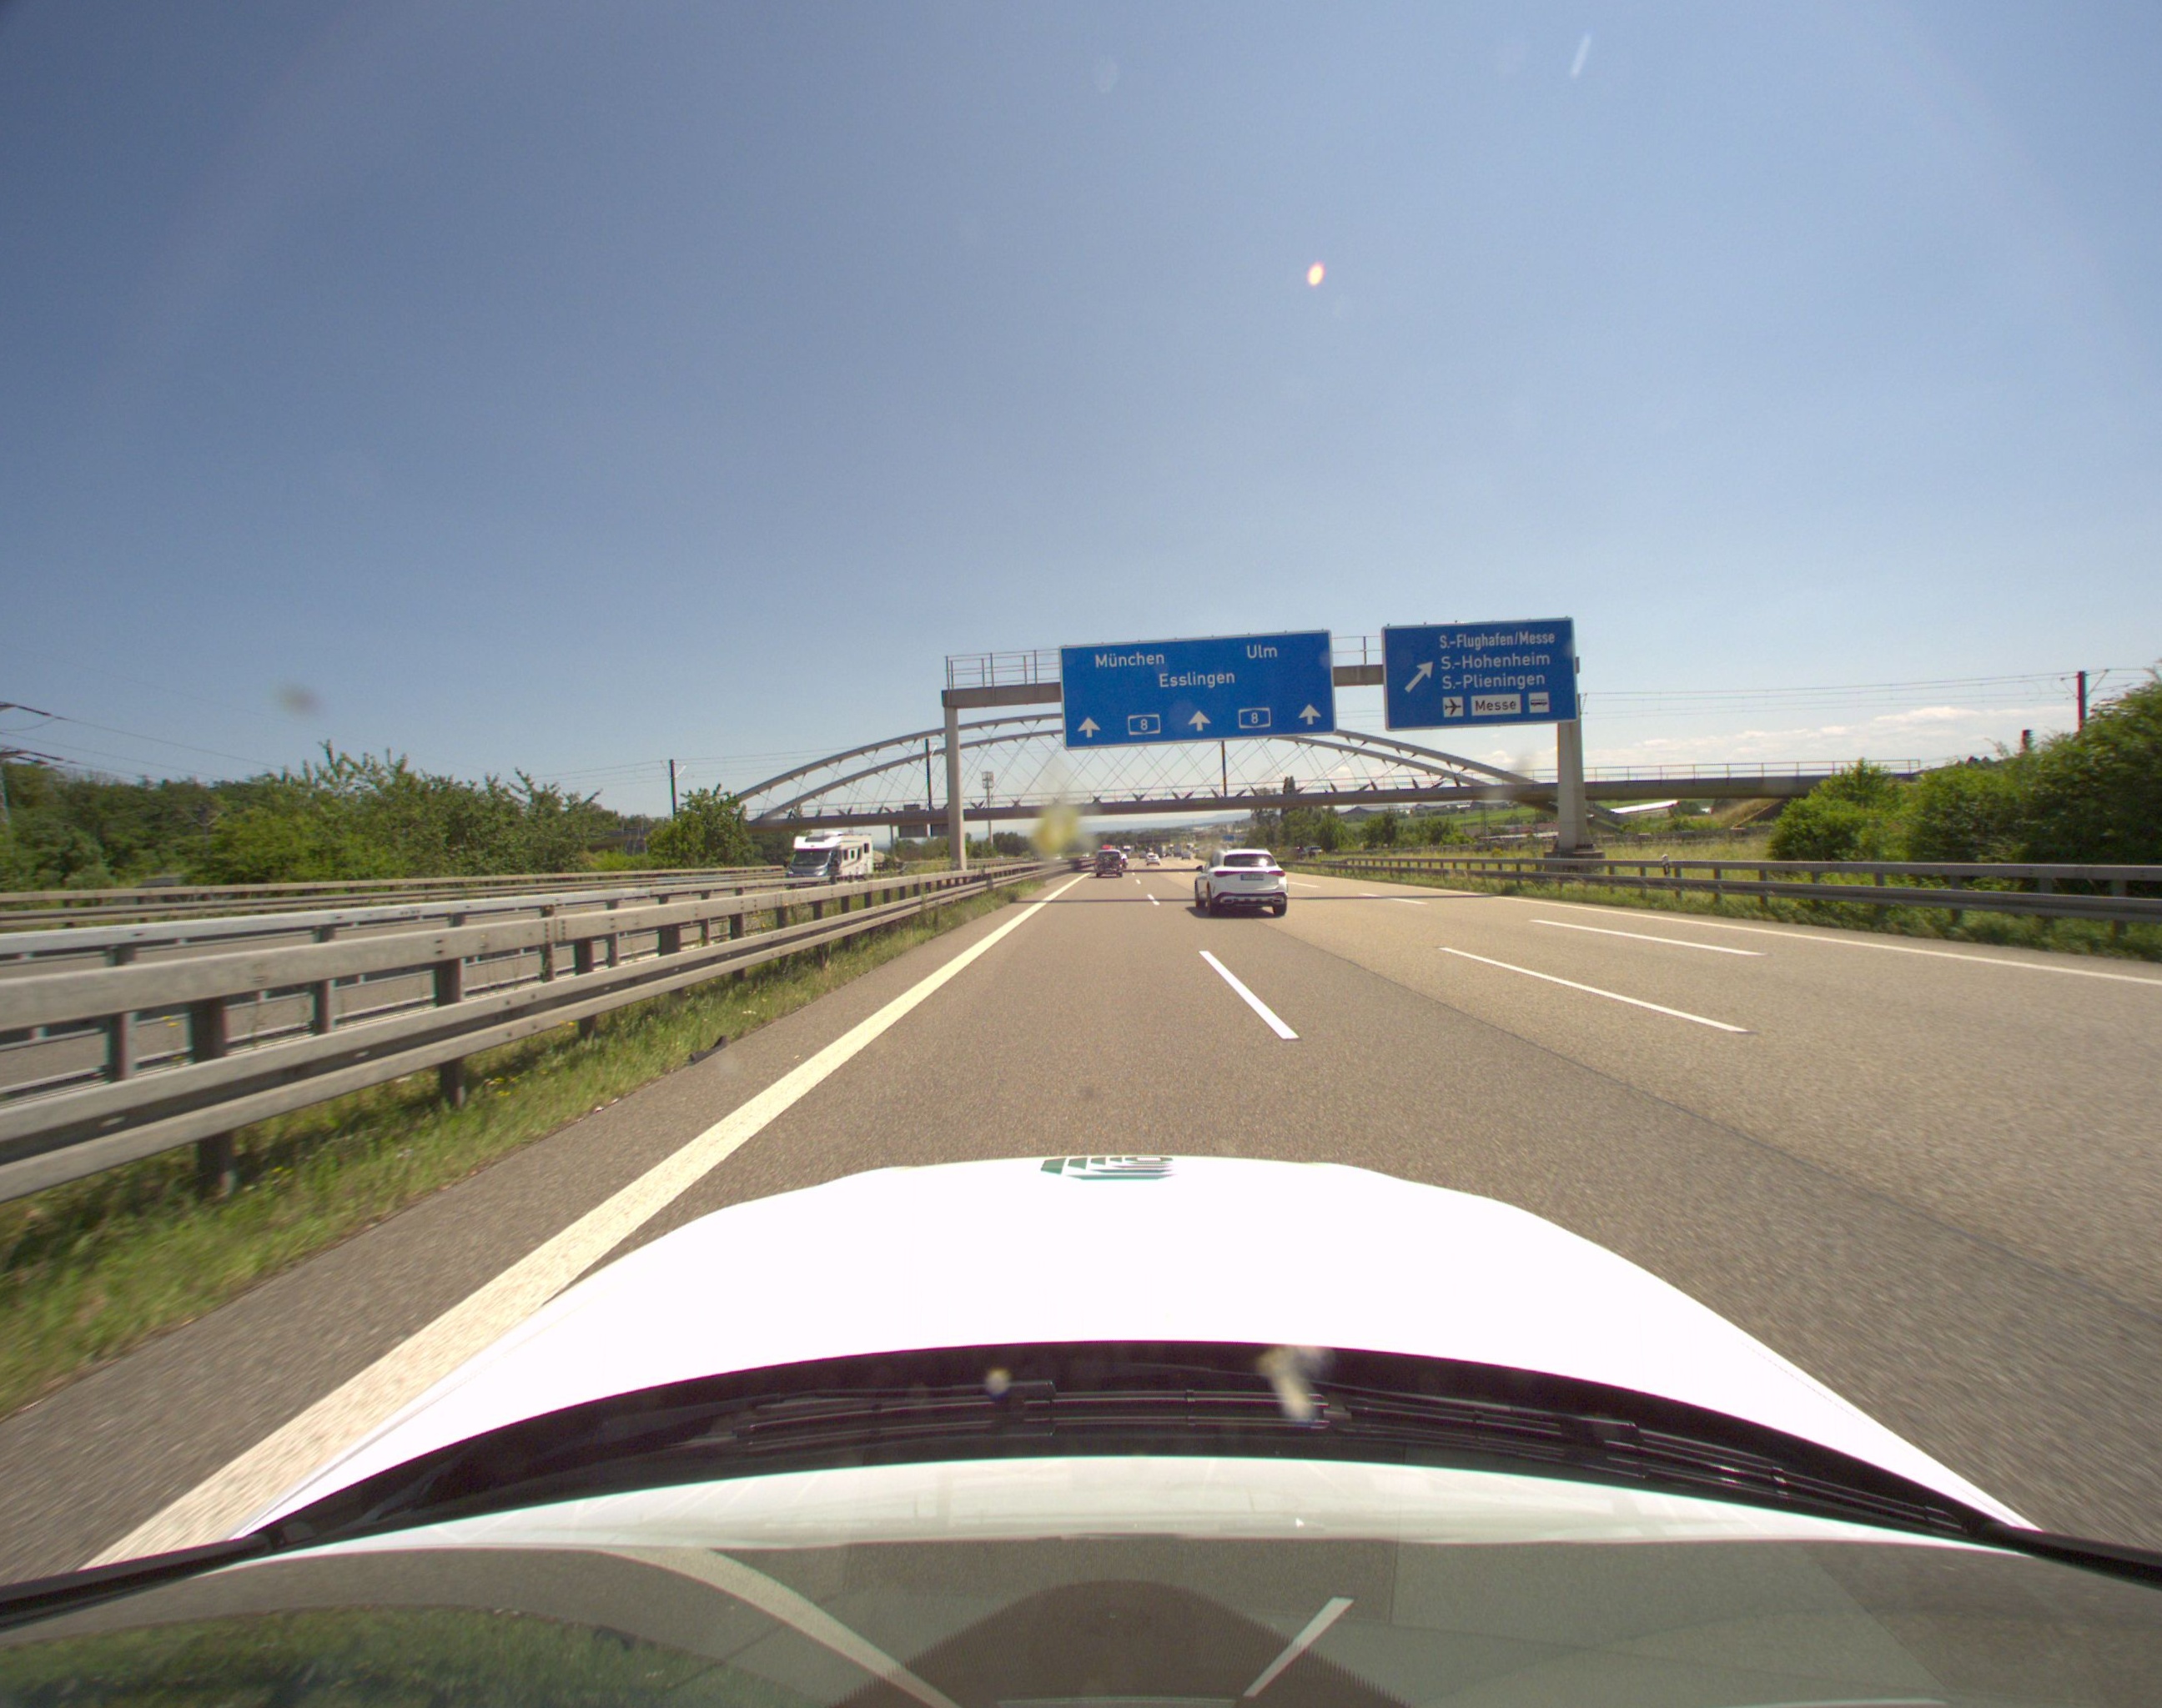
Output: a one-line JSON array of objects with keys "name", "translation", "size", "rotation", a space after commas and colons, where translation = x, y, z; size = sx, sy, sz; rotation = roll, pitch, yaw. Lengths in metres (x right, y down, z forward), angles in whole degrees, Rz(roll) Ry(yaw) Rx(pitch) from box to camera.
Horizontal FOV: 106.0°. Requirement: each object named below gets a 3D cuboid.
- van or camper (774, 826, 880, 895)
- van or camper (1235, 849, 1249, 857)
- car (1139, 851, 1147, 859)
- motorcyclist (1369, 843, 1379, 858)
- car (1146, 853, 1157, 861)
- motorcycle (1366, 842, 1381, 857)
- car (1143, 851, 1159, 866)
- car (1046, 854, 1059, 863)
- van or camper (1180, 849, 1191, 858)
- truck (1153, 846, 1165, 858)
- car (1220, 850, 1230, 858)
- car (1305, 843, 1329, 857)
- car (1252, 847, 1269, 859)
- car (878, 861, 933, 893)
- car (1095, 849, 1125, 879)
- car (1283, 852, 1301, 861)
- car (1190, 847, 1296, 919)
[{"name": "van or camper", "translation": [-12.609, 0.296, 41.237], "size": [2.434, 3.087, 8.127], "rotation": [-1, 0, 3]}, {"name": "van or camper", "translation": [43.483, -0.222, 220.162], "size": [2.528, 2.014, 4.446], "rotation": [-1, 0, -9]}, {"name": "car", "translation": [16.282, 0.191, 214.479], "size": [2.177, 2.003, 4.003], "rotation": [-1, 0, 3]}, {"name": "motorcyclist", "translation": [26.374, -0.291, 73.319], "size": [0.666, 1.366, 0.879], "rotation": [-1, -1, 2]}, {"name": "car", "translation": [13.349, 0.526, 154.904], "size": [1.974, 1.473, 4.003], "rotation": [-1, 0, 2]}, {"name": "motorcycle", "translation": [26.346, -0.411, 73.390], "size": [0.757, 1.366, 1.870], "rotation": [-1, 0, 1]}, {"name": "car", "translation": [9.145, 0.633, 106.410], "size": [1.918, 1.919, 4.522], "rotation": [-1, 0, 3]}, {"name": "car", "translation": [-5.298, 0.771, 151.289], "size": [1.919, 1.639, 4.982], "rotation": [-1, 0, 4]}, {"name": "van or camper", "translation": [22.971, -0.163, 179.324], "size": [2.146, 2.014, 4.310], "rotation": [-1, 0, 5]}, {"name": "truck", "translation": [20.907, -0.395, 218.669], "size": [2.687, 3.109, 10.682], "rotation": [-1, 0, 8]}, {"name": "car", "translation": [36.751, -0.046, 207.579], "size": [1.986, 2.014, 4.001], "rotation": [-1, 0, 1]}, {"name": "car", "translation": [27.071, -0.401, 93.545], "size": [1.692, 1.575, 4.132], "rotation": [-1, 0, 4]}, {"name": "car", "translation": [29.851, -0.164, 135.481], "size": [1.932, 1.923, 4.180], "rotation": [-1, 0, 1]}, {"name": "car", "translation": [-8.588, 1.075, 40.158], "size": [1.592, 1.415, 4.266], "rotation": [-1, 0, 2]}, {"name": "car", "translation": [1.907, 0.633, 54.436], "size": [1.919, 1.919, 4.949], "rotation": [-1, 0, 1]}, {"name": "car", "translation": [31.115, 0.368, 120.184], "size": [1.693, 1.277, 4.001], "rotation": [-1, 0, 1]}, {"name": "car", "translation": [4.092, 0.694, 21.394], "size": [1.891, 1.647, 5.000], "rotation": [-1, 0, 1]}]
